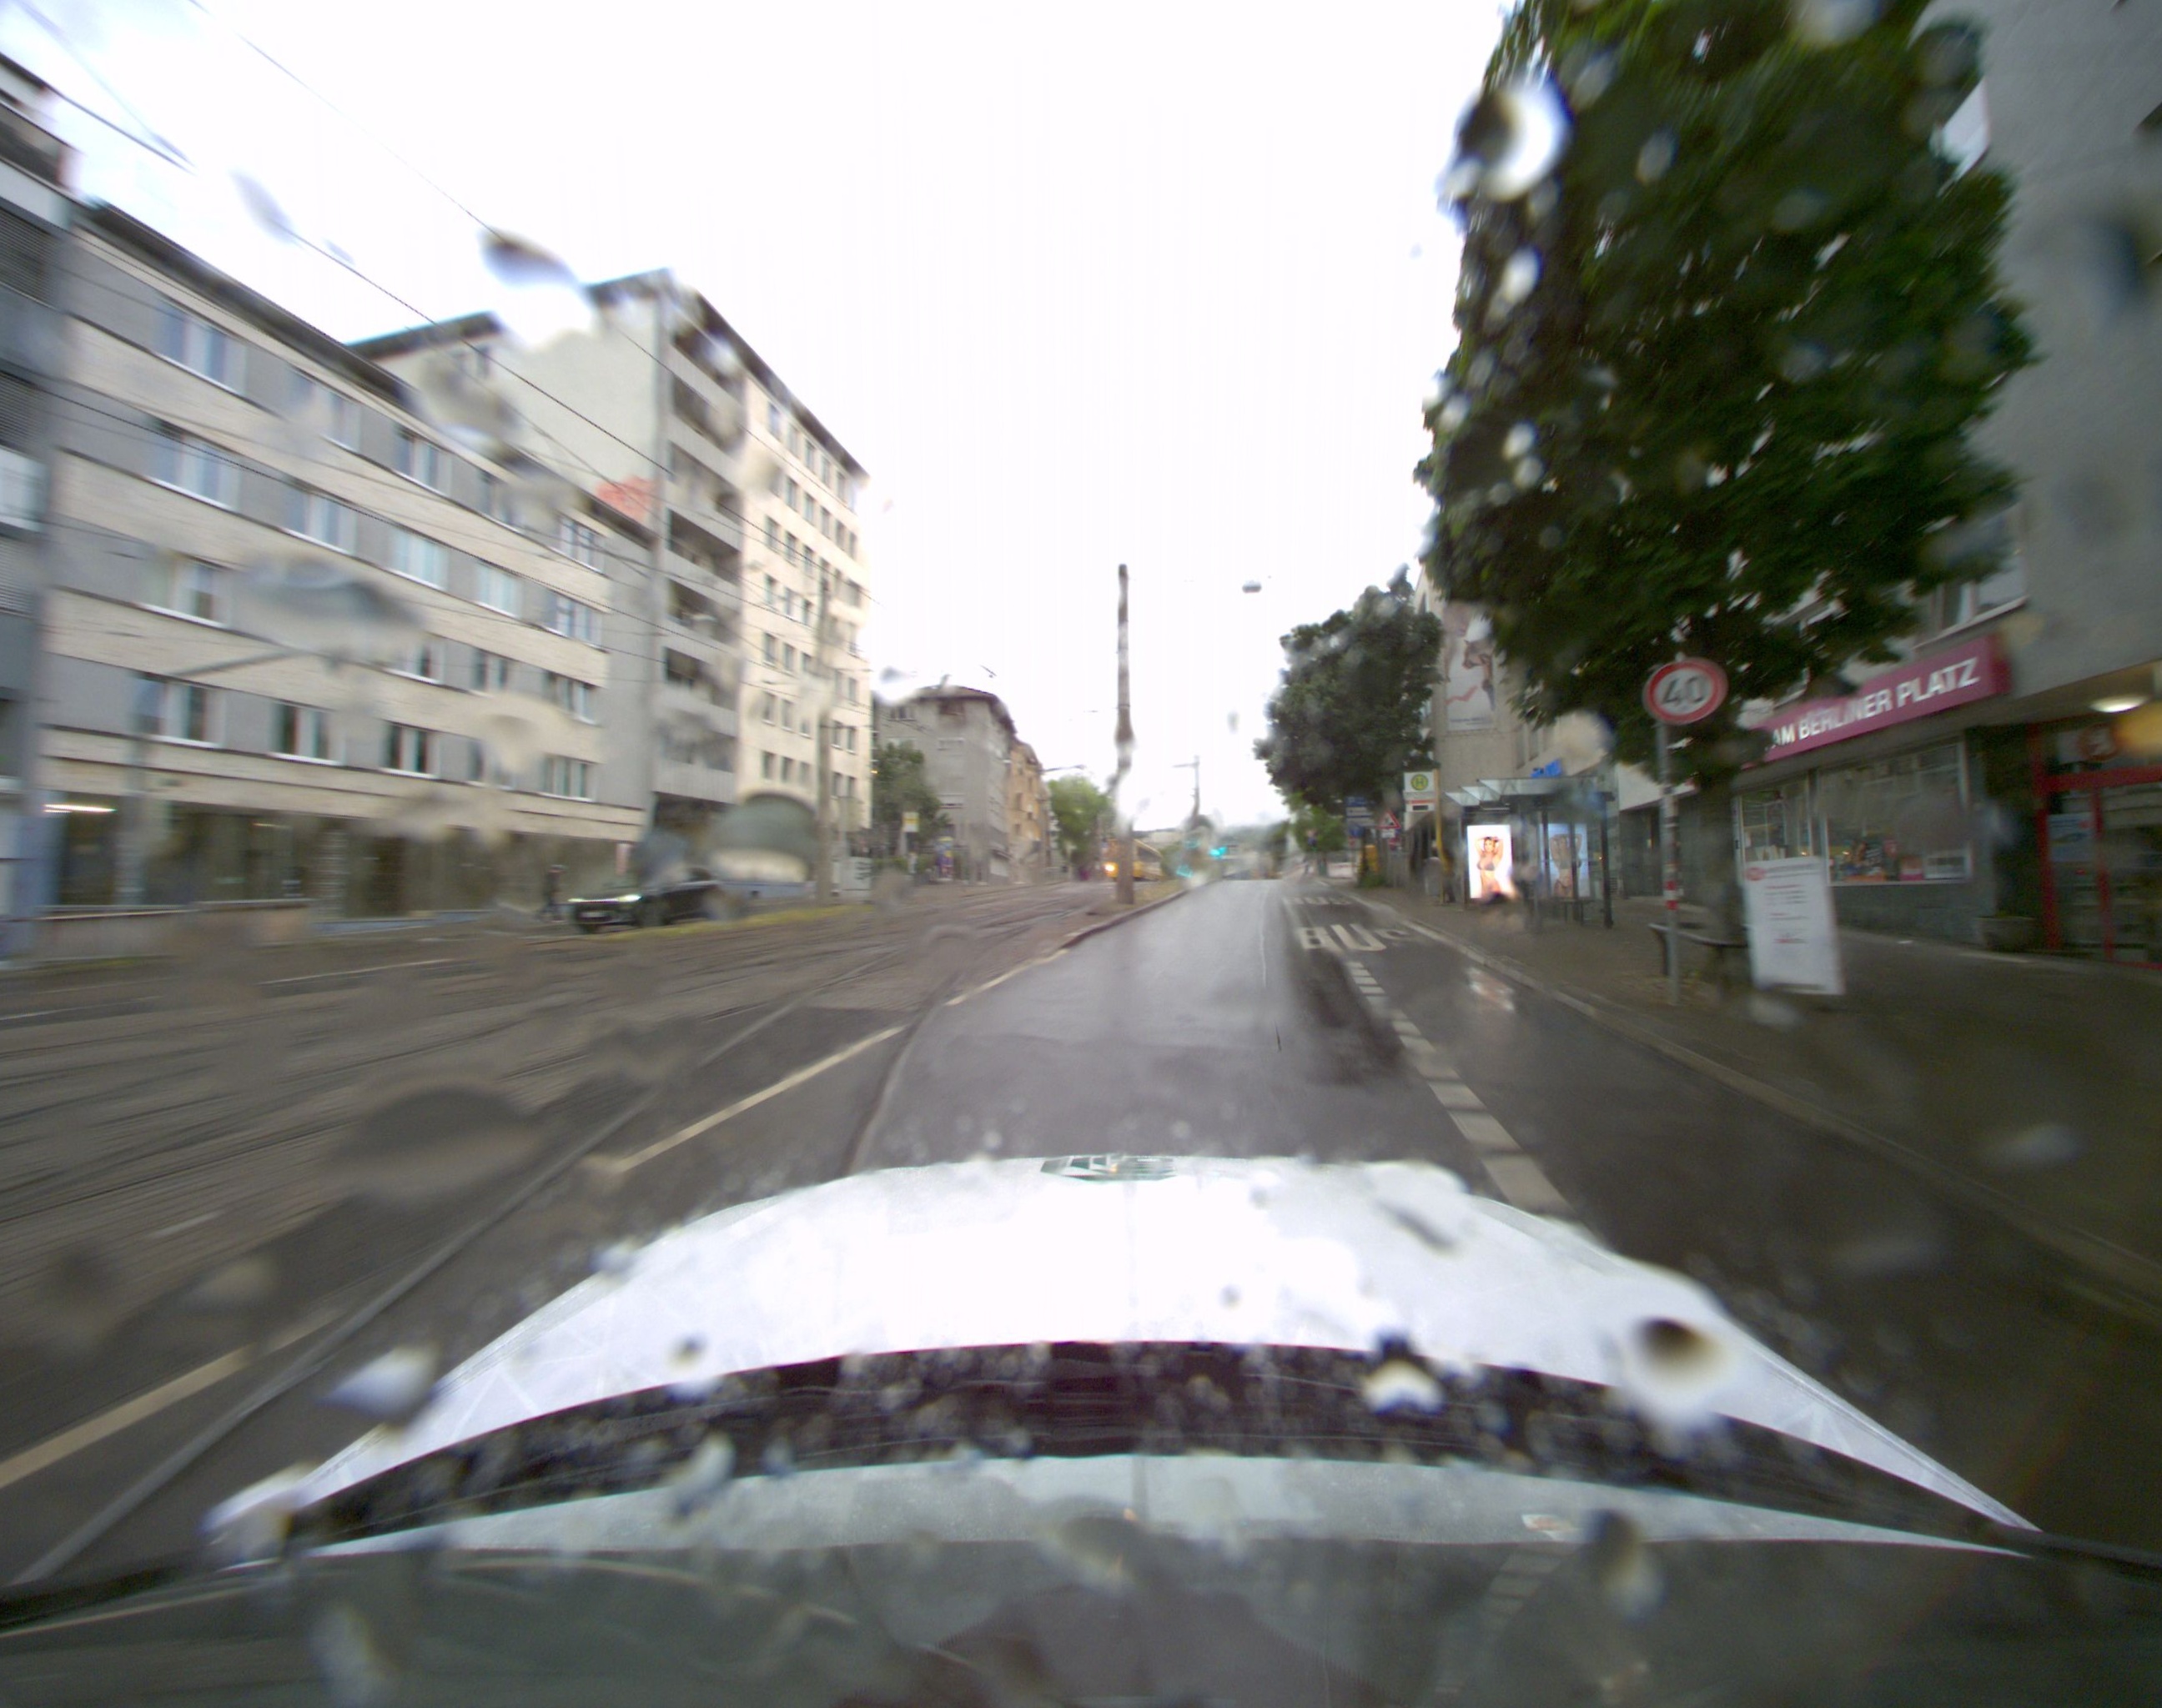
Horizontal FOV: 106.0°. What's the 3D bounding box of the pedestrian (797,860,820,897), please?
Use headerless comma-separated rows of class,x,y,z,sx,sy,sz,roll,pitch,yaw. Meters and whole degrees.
pedestrian,-12.905,1.160,38.575,0.593,1.738,0.912,-2,-1,11

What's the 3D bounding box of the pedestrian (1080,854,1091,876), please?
pedestrian,0.389,0.870,66.864,0.727,1.790,0.699,-2,-1,11

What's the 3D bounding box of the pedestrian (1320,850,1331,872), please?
pedestrian,19.923,0.543,66.500,0.695,1.785,1.069,-1,-1,9

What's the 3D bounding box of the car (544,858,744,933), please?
car,-11.016,0.982,20.980,1.980,1.673,4.543,-2,-1,13

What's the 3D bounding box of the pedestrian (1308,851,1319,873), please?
pedestrian,19.086,0.639,66.848,0.695,1.815,0.979,-1,-1,9

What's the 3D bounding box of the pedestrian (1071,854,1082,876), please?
pedestrian,-0.407,0.891,67.019,0.727,1.790,0.699,-2,-1,11

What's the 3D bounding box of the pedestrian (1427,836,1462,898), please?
pedestrian,9.820,0.355,22.029,0.660,1.626,0.971,-1,-1,12

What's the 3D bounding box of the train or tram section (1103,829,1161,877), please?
train or tram section,4.923,0.172,73.509,2.728,3.697,19.024,-1,-2,11

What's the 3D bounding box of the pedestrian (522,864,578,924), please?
pedestrian,-15.399,1.150,23.630,0.883,1.681,1.000,-2,-1,7

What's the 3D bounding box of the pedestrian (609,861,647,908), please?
pedestrian,-16.377,1.089,29.454,0.674,1.681,1.002,-2,-1,11

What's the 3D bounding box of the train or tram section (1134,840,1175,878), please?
train or tram section,8.561,0.783,92.166,2.728,3.697,19.024,-1,-2,11
